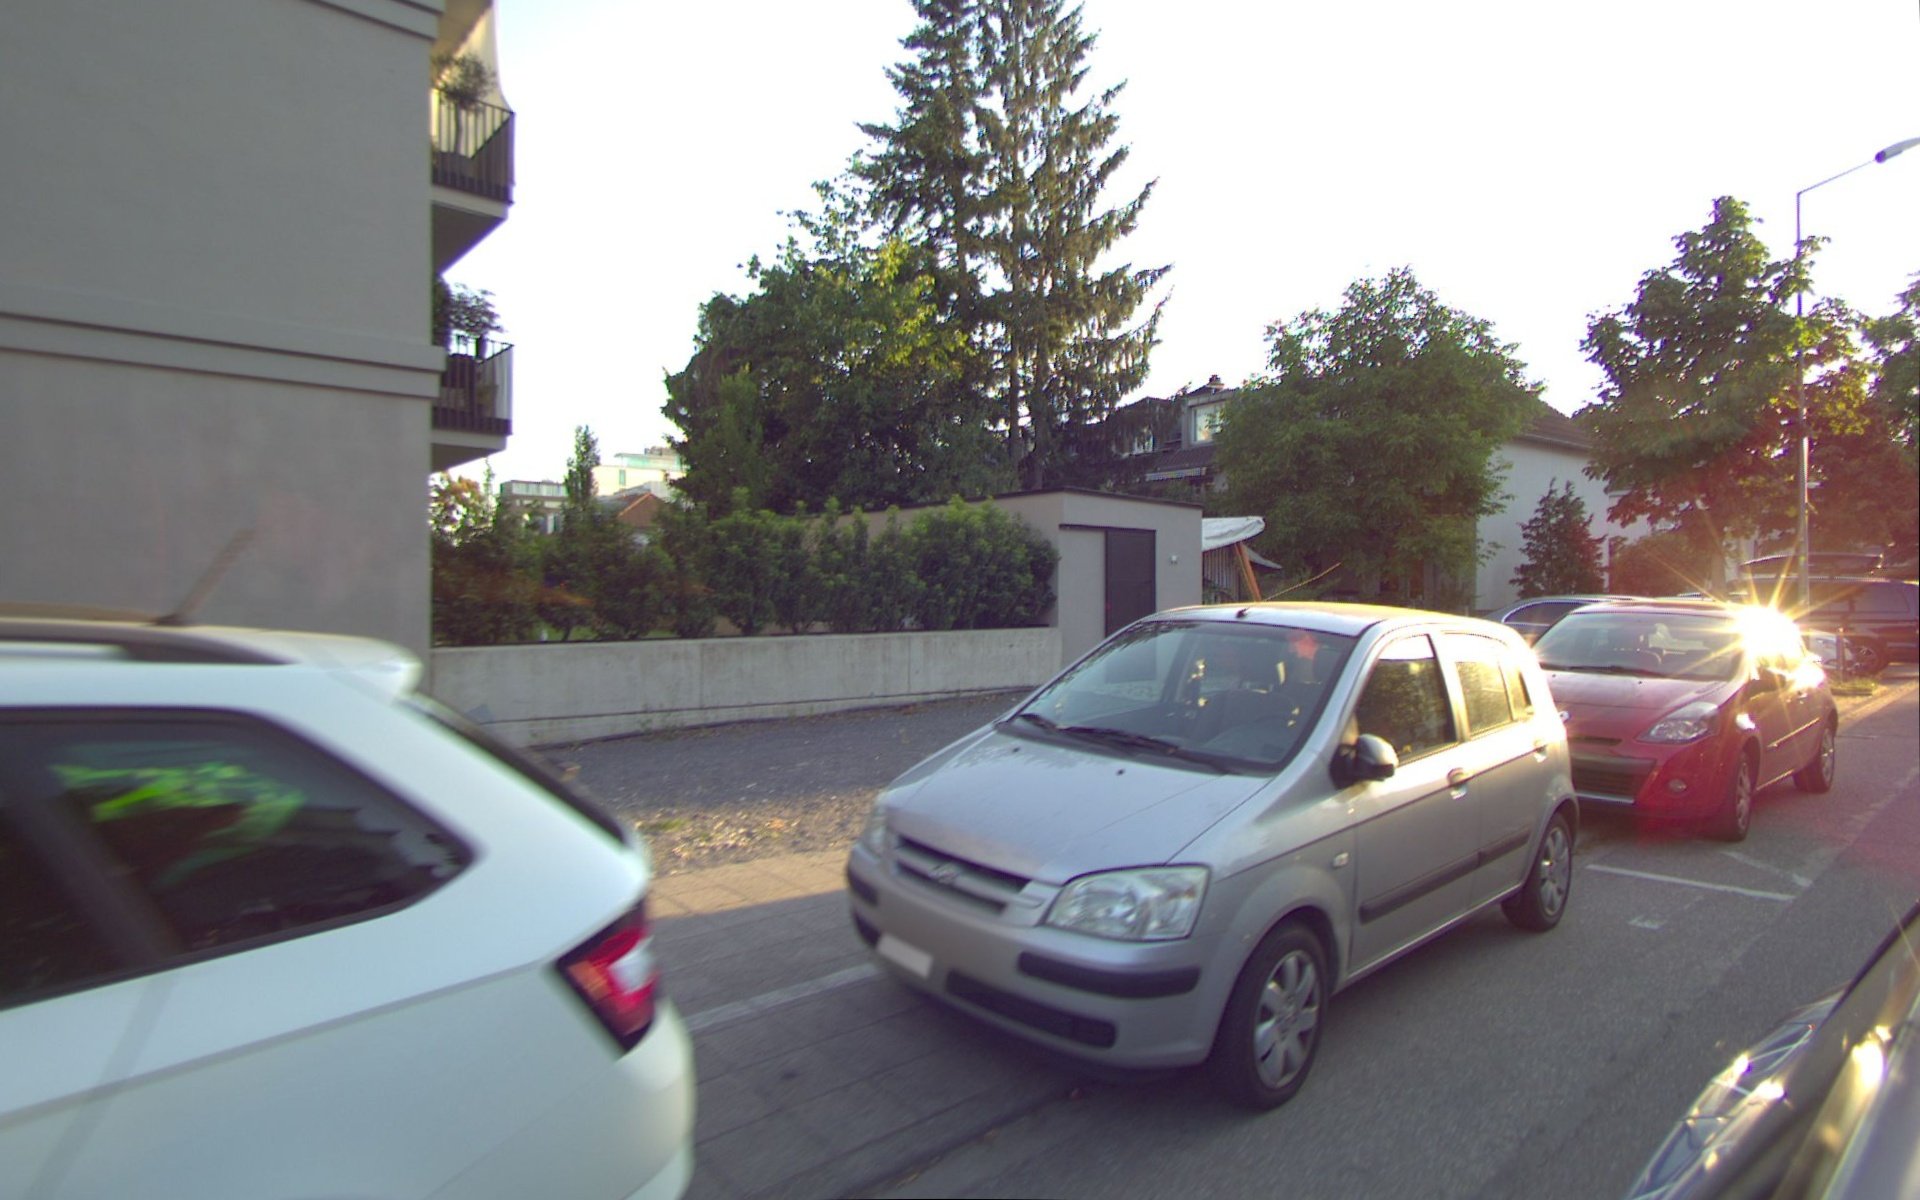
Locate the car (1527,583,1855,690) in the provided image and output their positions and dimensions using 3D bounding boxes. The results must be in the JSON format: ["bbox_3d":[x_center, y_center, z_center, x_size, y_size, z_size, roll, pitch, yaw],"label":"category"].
[{"bbox_3d":[11.906,0.496,16.720,1.737,1.520,4.066,0,1,-38],"label":"car"}]

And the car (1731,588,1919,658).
[{"bbox_3d":[21.421,0.524,24.605,1.761,1.580,3.994,-1,0,-40],"label":"car"}]

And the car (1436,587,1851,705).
[{"bbox_3d":[9.901,0.548,15.040,1.739,1.415,4.827,0,1,-41],"label":"car"}]

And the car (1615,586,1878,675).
[{"bbox_3d":[15.303,0.529,19.840,1.601,1.563,3.837,-1,0,-41],"label":"car"}]

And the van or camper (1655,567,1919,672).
[{"bbox_3d":[17.563,0.371,21.196,2.060,1.978,4.651,-1,0,-43],"label":"van or camper"}]

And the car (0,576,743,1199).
[{"bbox_3d":[-2.348,0.730,1.002,3.930,1.488,1.616,-1,0,-44],"label":"car"}]

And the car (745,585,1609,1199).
[{"bbox_3d":[1.196,0.694,4.354,3.778,1.488,1.799,-1,0,-43],"label":"car"}]

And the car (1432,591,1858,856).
[{"bbox_3d":[5.268,0.689,7.616,3.693,1.488,1.743,-1,0,-41],"label":"car"}]
